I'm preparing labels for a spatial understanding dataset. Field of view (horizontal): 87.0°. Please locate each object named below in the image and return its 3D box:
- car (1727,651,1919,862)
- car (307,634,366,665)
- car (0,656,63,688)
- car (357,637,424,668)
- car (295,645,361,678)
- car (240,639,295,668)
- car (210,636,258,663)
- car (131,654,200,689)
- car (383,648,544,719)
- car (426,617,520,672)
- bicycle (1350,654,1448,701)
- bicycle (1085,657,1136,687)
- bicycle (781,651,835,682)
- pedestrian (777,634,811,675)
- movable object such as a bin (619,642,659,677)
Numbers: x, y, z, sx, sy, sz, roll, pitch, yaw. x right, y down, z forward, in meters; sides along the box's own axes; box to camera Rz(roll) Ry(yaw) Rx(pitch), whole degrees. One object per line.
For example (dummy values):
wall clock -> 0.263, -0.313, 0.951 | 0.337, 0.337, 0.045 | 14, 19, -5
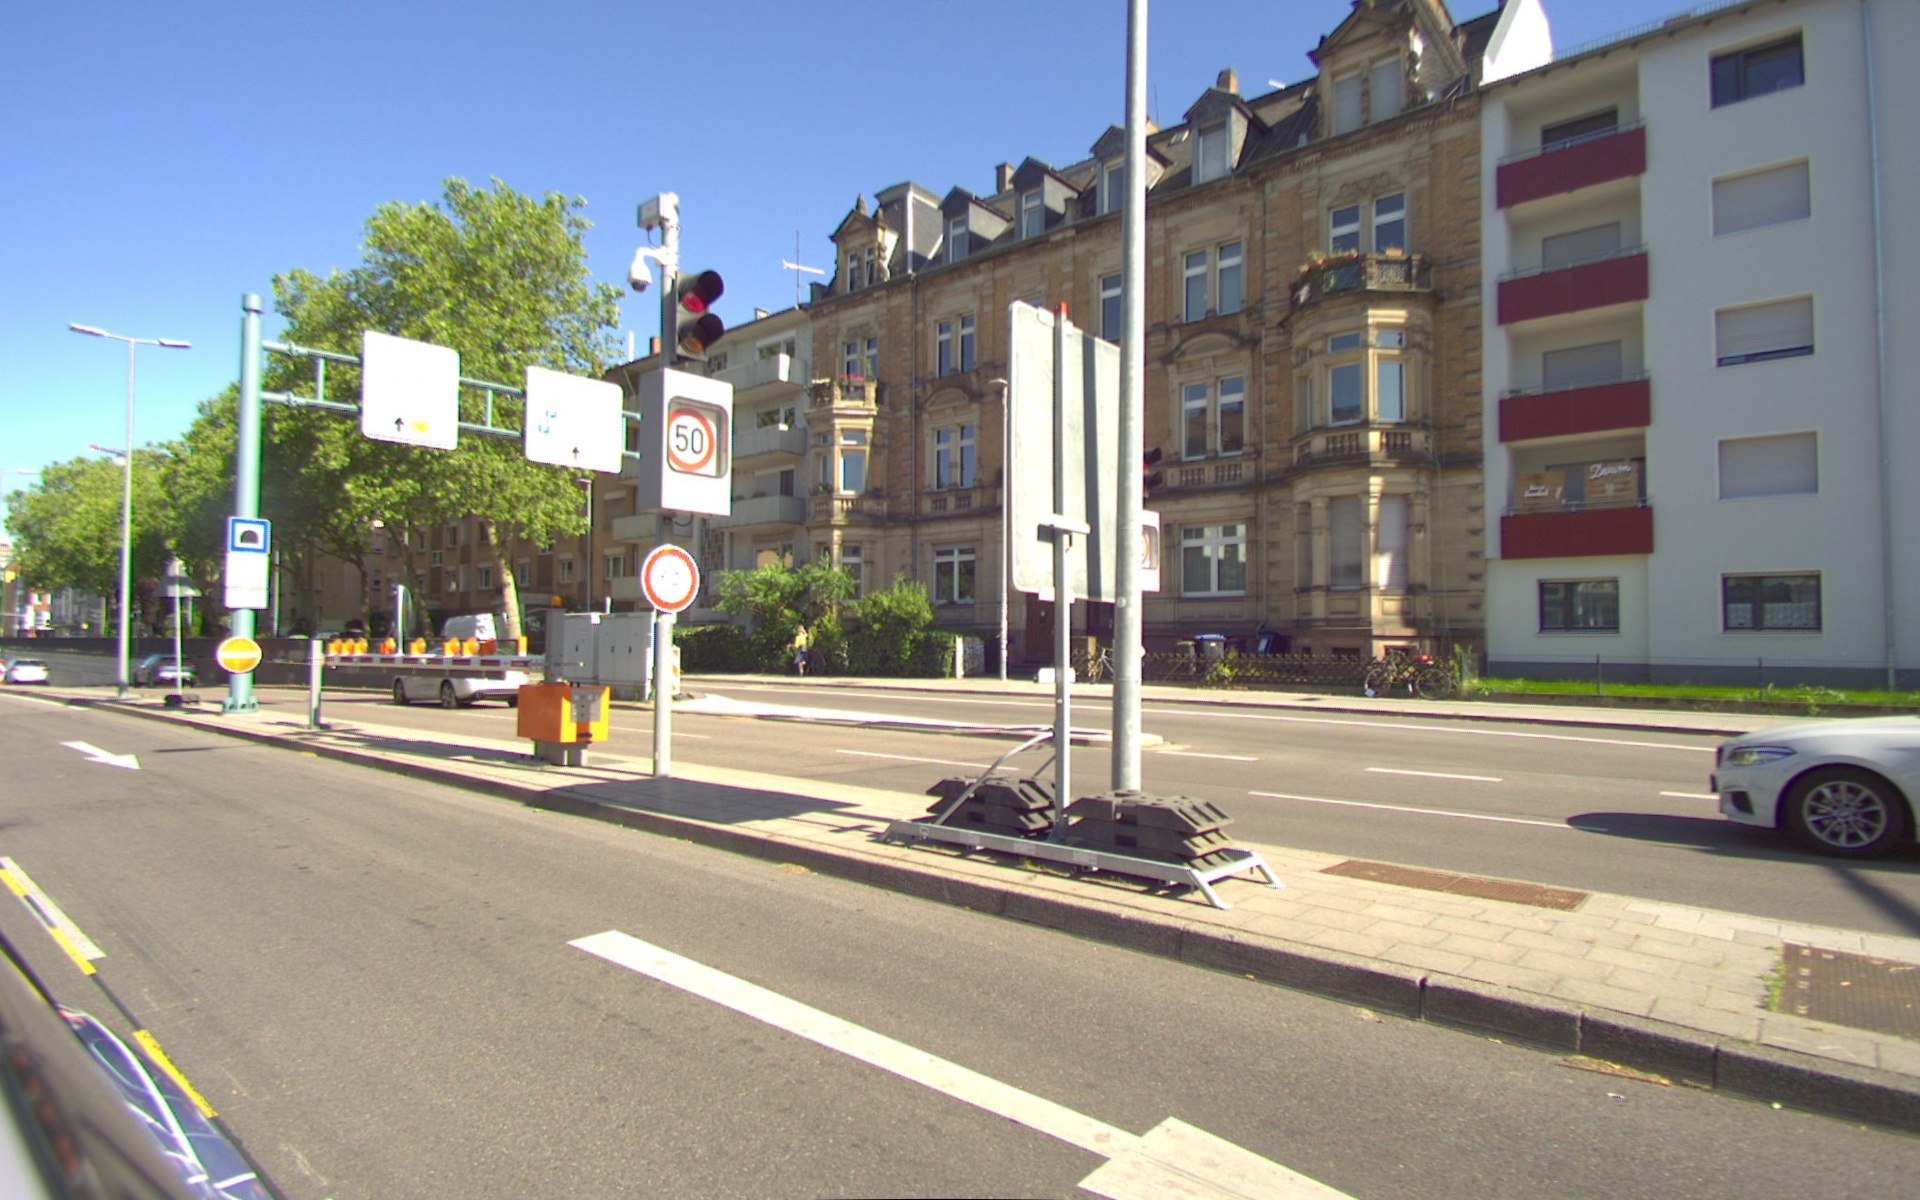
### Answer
car -> 7.755, 1.013, 6.535 | 4.314, 1.356, 1.910 | -3, -3, 42
car -> -37.769, 2.991, 61.248 | 3.998, 1.766, 1.972 | -4, -5, 42
car -> -48.530, 3.788, 52.681 | 4.612, 1.464, 1.974 | -6, -9, 39
car -> -31.409, 2.907, 55.782 | 3.998, 1.592, 1.972 | -4, -6, 42
car -> -29.813, 2.875, 47.729 | 3.687, 1.449, 1.611 | -2, -1, 40
car -> -37.806, 2.895, 55.214 | 3.689, 1.498, 1.610 | -1, -3, 42
car -> -54.353, 3.746, 75.779 | 3.997, 1.865, 1.973 | -4, -6, 40
car -> -35.934, 3.220, 45.717 | 4.308, 1.452, 1.590 | -3, -6, 41
car -> -12.127, 1.984, 24.605 | 4.389, 1.464, 1.973 | -4, -1, 42
car -> -23.547, 2.213, 48.840 | 5.285, 2.465, 2.220 | -4, -6, 42
bicycle -> 9.514, 1.669, 21.985 | 1.939, 0.965, 0.301 | -2, -4, 42
bicycle -> 3.988, 1.898, 26.903 | 1.413, 0.777, 0.295 | -3, -4, 42
bicycle -> -5.252, 2.291, 34.829 | 2.248, 1.013, 0.462 | -3, -2, 40
pedestrian -> -5.635, 1.846, 34.388 | 1.089, 1.388, 0.560 | -3, -3, 40
movable object such as a bin -> -12.948, 2.424, 40.819 | 1.473, 1.371, 0.883 | -4, -6, 42
